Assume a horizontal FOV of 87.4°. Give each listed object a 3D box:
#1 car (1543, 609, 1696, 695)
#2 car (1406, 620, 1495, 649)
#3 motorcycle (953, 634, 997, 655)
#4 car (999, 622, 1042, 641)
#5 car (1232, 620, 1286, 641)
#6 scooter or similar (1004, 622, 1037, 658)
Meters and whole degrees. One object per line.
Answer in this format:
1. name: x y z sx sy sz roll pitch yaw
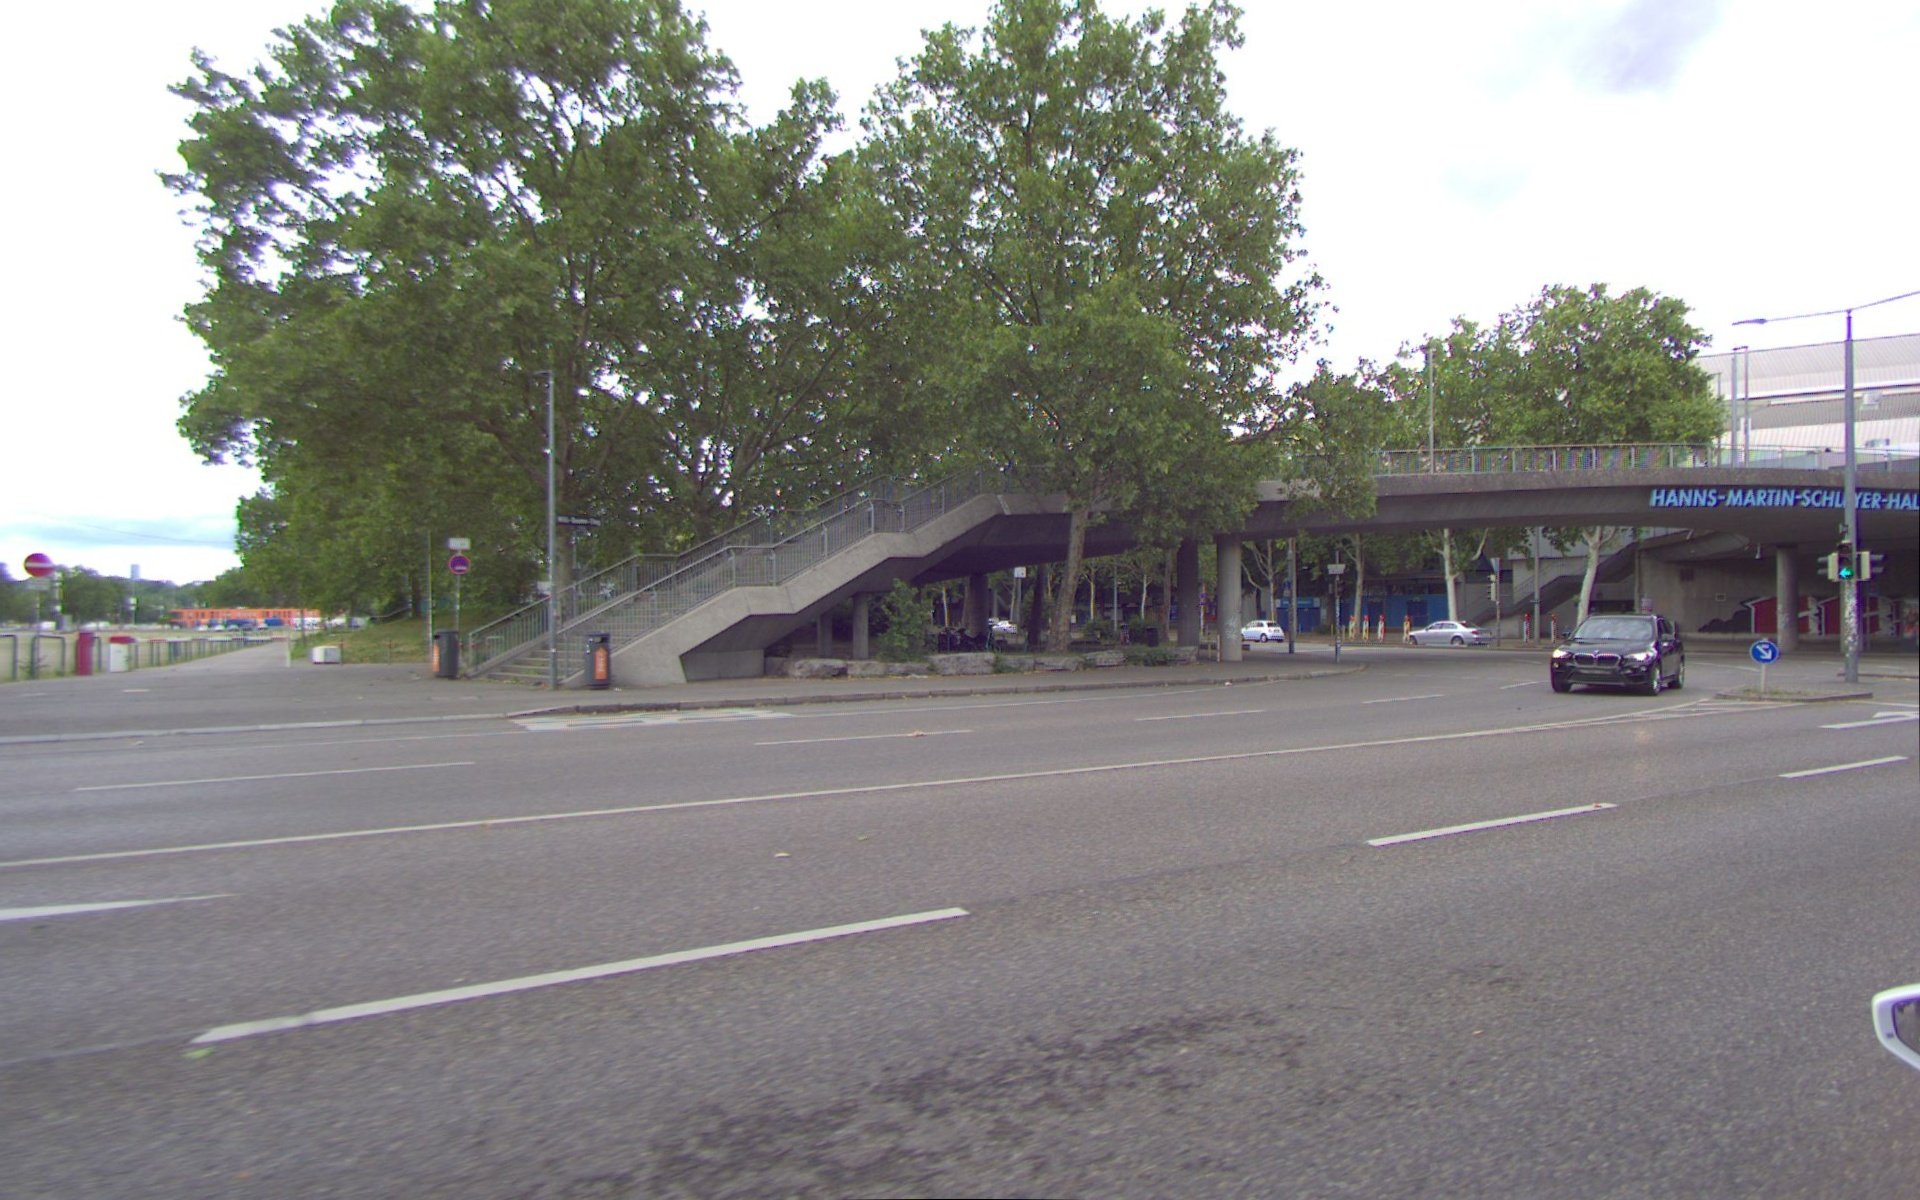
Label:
1. car: 13.918 1.051 21.089 4.398 1.627 1.752 2 -3 -44
2. car: 26.799 1.849 55.015 1.975 1.437 3.970 1 0 -28
3. motorcycle: 0.629 1.828 41.504 1.714 0.863 0.646 1 -1 -25
4. car: 5.640 2.958 94.100 1.981 1.682 3.959 1 0 -36
5. car: 20.466 2.078 68.818 1.596 1.330 3.369 1 0 -29
6. scooter or similar: 2.351 1.567 39.042 1.214 1.336 0.414 3 -3 -31
